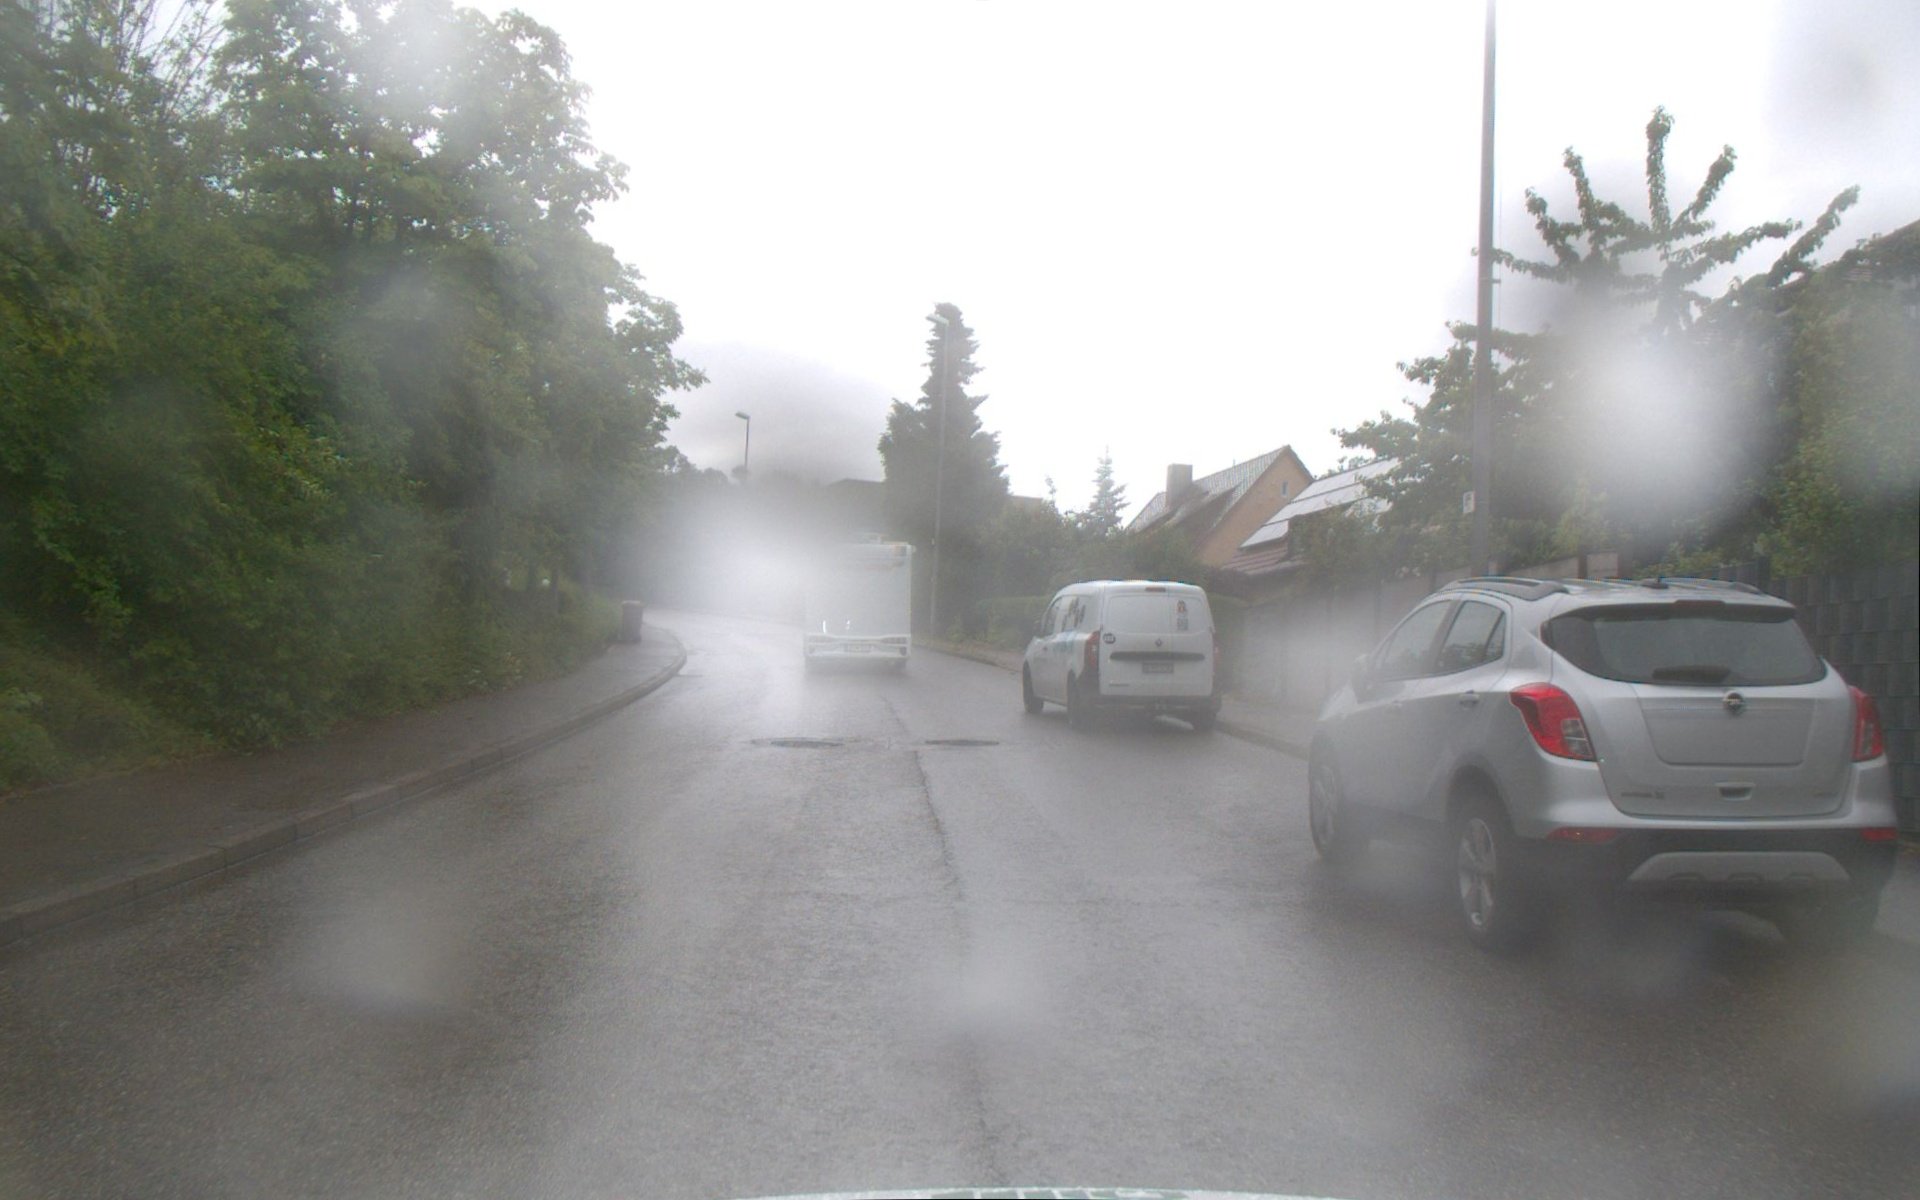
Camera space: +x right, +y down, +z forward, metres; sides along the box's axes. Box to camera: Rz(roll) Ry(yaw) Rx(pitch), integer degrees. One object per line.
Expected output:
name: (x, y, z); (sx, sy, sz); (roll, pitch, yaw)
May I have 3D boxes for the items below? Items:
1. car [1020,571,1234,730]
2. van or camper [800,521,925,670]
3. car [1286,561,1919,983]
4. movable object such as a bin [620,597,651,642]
car: (2.047, 0.611, 21.679); (1.745, 1.835, 4.699); (1, 0, -8)
van or camper: (-2.224, -0.064, 36.554); (2.491, 2.976, 5.941); (1, 0, -5)
car: (3.138, 0.688, 8.781); (1.768, 1.655, 4.285); (-1, 0, -3)
movable object such as a bin: (-8.744, 0.534, 44.629); (0.681, 1.109, 0.802); (4, 3, -7)
